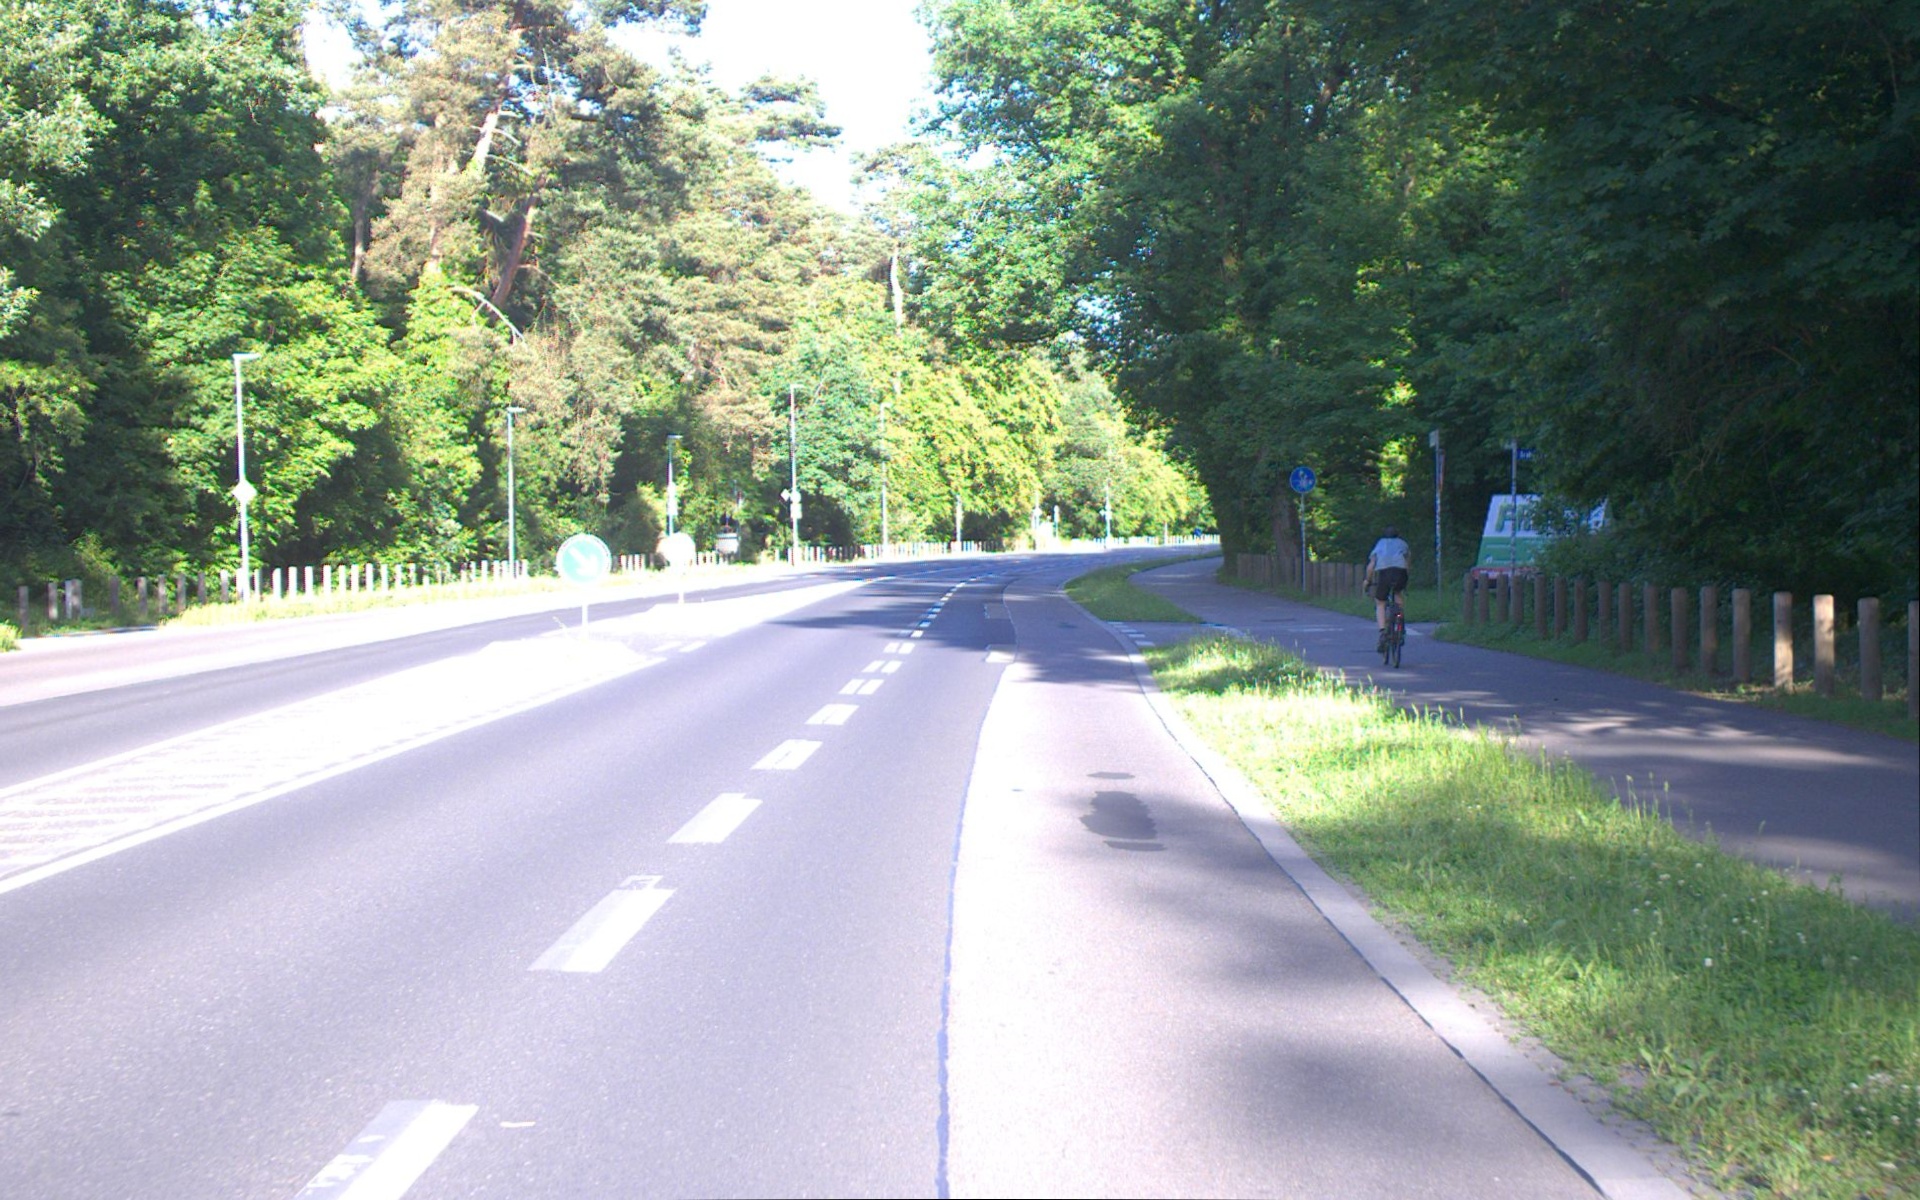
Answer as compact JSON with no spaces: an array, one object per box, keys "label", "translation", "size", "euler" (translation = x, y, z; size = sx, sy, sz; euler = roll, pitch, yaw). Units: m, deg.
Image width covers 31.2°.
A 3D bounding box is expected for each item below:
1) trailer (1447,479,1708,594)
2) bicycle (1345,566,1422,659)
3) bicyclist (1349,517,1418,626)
[{"label":"trailer","translation":[11.175,-1.147,62.354],"size":[4.224,2.014,1.995],"euler":[0,1,42]},{"label":"bicycle","translation":[5.026,0.132,40.898],"size":[0.712,1.052,2.053],"euler":[0,1,1]},{"label":"bicyclist","translation":[5.028,-0.346,40.871],"size":[0.712,1.284,1.104],"euler":[0,1,1]}]
